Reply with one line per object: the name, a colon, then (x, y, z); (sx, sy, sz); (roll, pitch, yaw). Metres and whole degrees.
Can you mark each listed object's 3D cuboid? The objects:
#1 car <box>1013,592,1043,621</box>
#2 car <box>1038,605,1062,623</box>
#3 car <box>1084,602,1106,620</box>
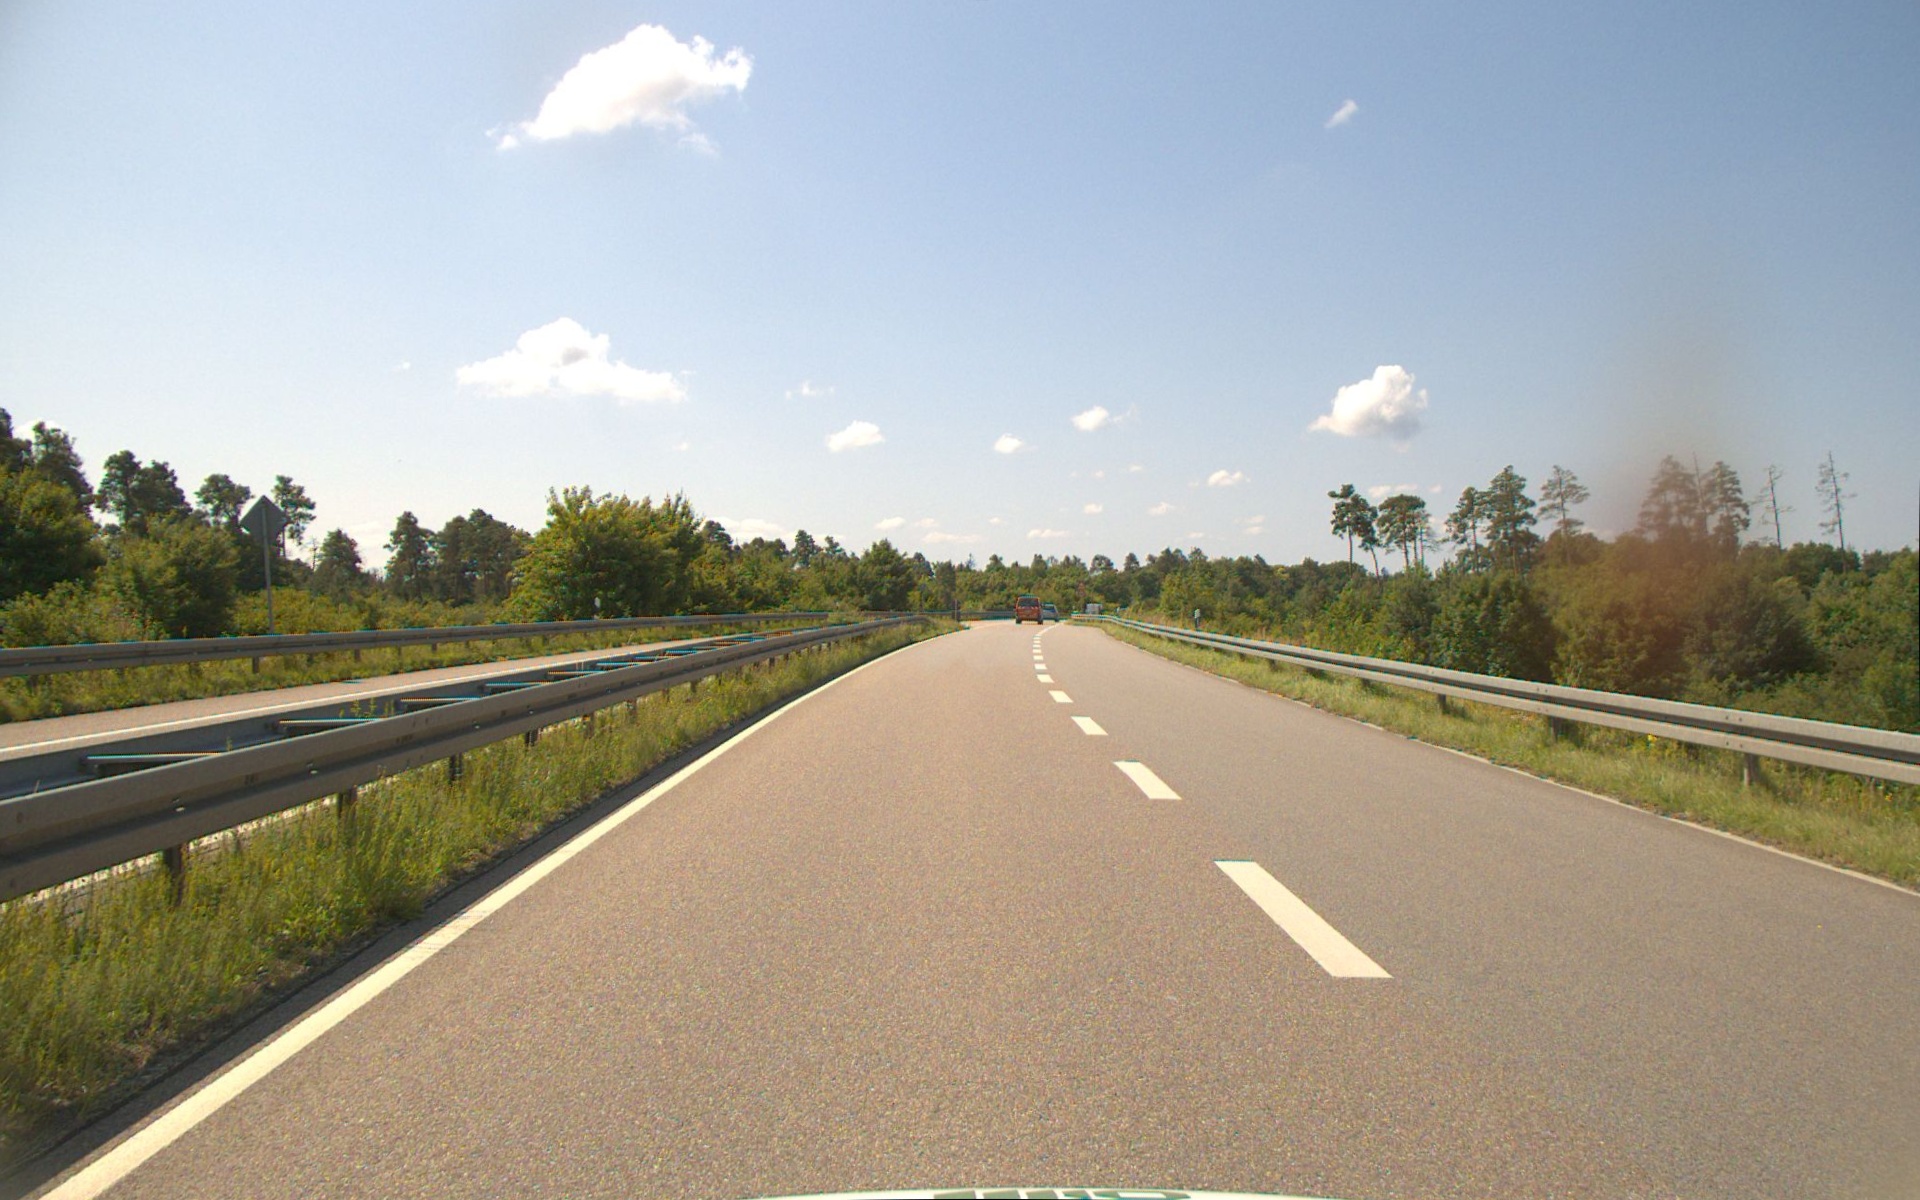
car: (5.007, 0.507, 122.031); (2.034, 2.028, 5.114); (1, -1, 4)
car: (7.847, 1.251, 143.631); (1.965, 1.520, 4.240); (1, -1, 4)
car: (16.073, 1.329, 196.914); (2.138, 1.989, 5.808); (1, -1, 10)
